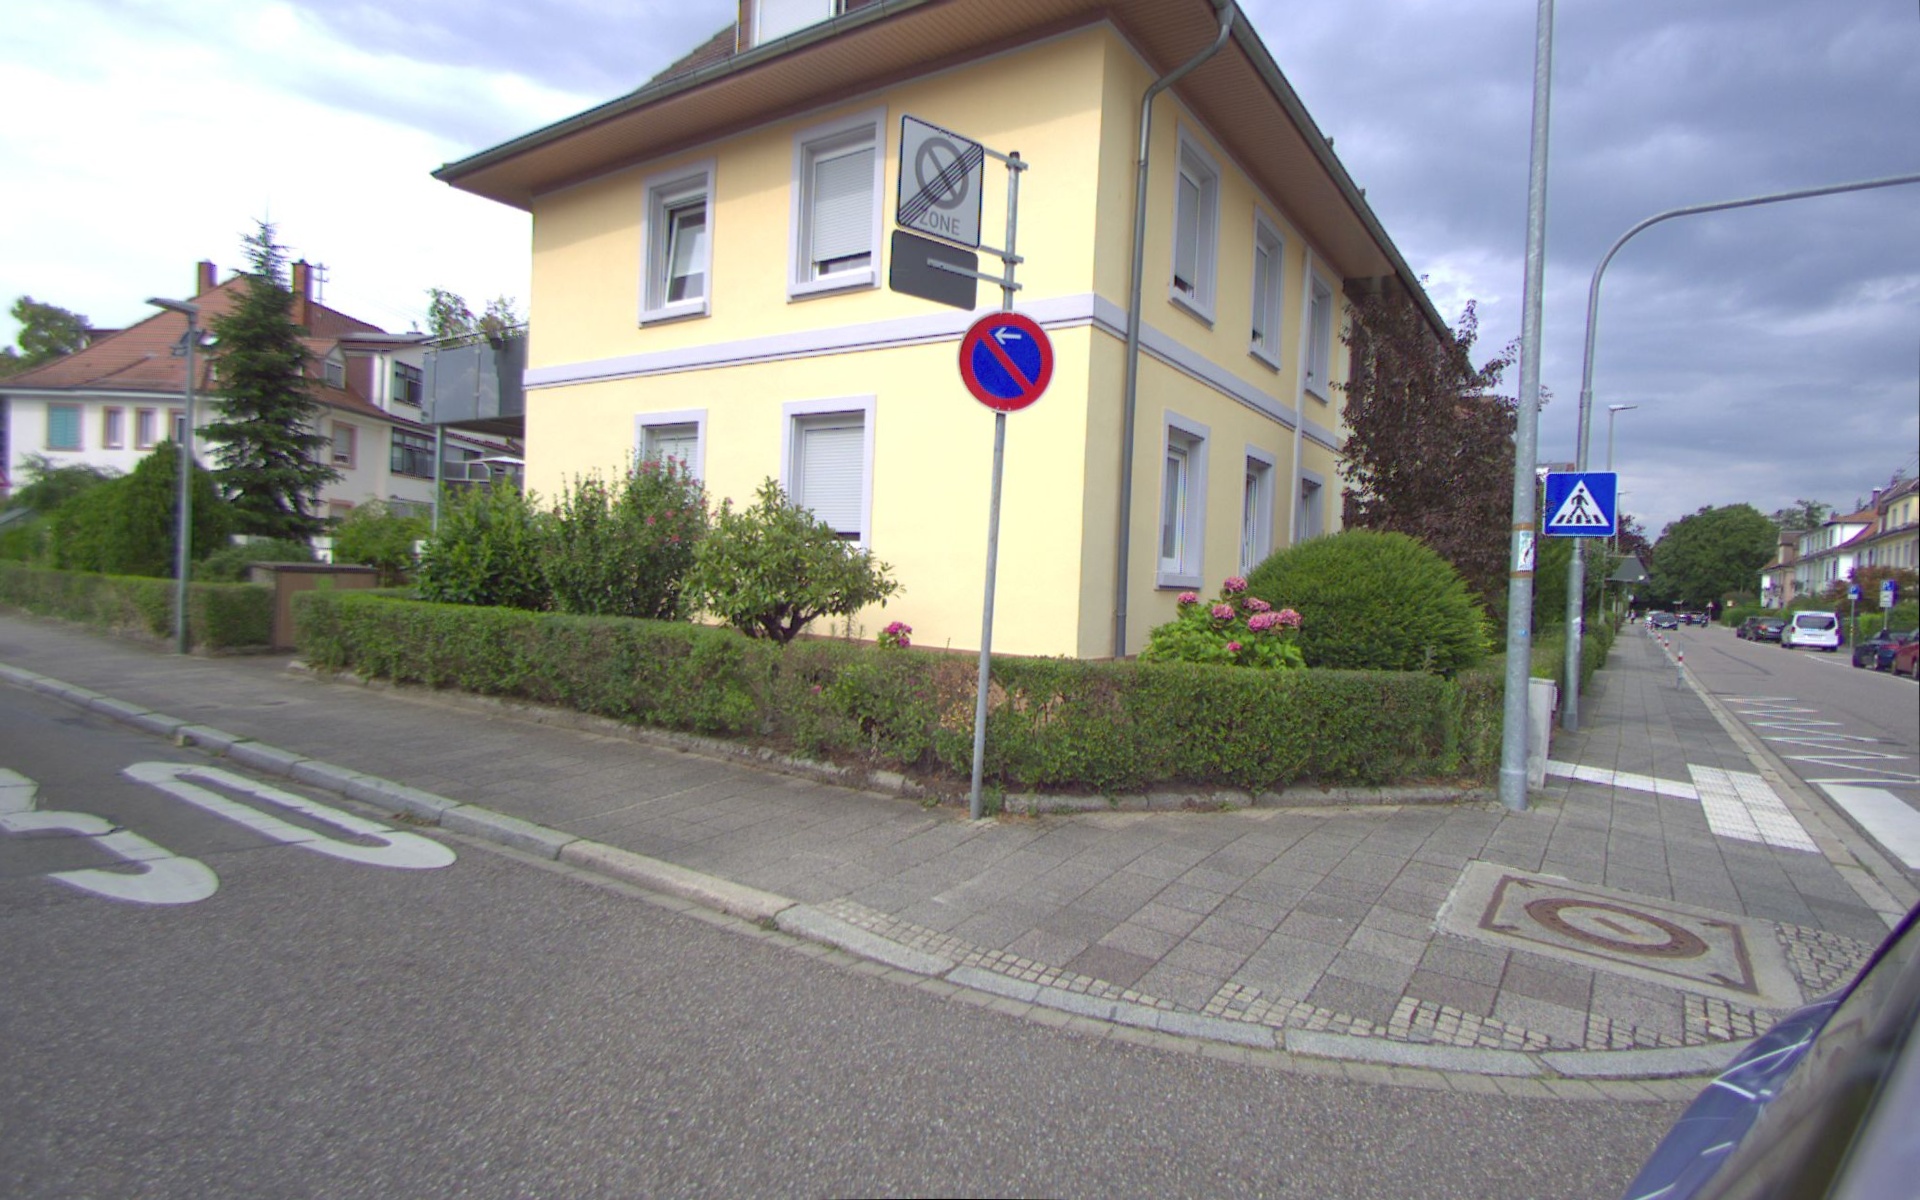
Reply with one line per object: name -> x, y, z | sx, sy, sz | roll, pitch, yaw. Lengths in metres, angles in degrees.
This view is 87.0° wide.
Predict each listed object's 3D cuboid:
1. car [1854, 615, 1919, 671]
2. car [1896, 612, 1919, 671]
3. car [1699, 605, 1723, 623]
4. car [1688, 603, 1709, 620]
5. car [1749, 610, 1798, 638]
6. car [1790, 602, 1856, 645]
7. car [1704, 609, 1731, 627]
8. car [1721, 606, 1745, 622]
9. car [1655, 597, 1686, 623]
car -> 30.034, 1.353, 32.061 | 1.987, 1.593, 3.951 | 3, 1, 34
car -> 27.359, 1.182, 27.634 | 1.987, 1.593, 3.951 | 3, 1, 34
car -> 90.129, 1.680, 121.452 | 1.988, 2.038, 3.950 | 5, 2, 34
car -> 97.736, 1.477, 133.939 | 1.986, 2.038, 3.952 | 3, 1, 33
car -> 51.295, 1.461, 63.852 | 1.987, 1.593, 3.951 | 3, 1, 34
car -> 43.072, 1.137, 50.613 | 1.987, 1.927, 3.951 | 3, 1, 34
car -> 83.192, 1.986, 111.177 | 1.720, 1.726, 3.959 | 5, 2, 29
car -> 80.225, 1.481, 105.043 | 1.489, 1.483, 3.061 | 5, 2, 29
car -> 60.720, 0.831, 86.542 | 1.987, 2.038, 3.951 | 3, 1, 34
